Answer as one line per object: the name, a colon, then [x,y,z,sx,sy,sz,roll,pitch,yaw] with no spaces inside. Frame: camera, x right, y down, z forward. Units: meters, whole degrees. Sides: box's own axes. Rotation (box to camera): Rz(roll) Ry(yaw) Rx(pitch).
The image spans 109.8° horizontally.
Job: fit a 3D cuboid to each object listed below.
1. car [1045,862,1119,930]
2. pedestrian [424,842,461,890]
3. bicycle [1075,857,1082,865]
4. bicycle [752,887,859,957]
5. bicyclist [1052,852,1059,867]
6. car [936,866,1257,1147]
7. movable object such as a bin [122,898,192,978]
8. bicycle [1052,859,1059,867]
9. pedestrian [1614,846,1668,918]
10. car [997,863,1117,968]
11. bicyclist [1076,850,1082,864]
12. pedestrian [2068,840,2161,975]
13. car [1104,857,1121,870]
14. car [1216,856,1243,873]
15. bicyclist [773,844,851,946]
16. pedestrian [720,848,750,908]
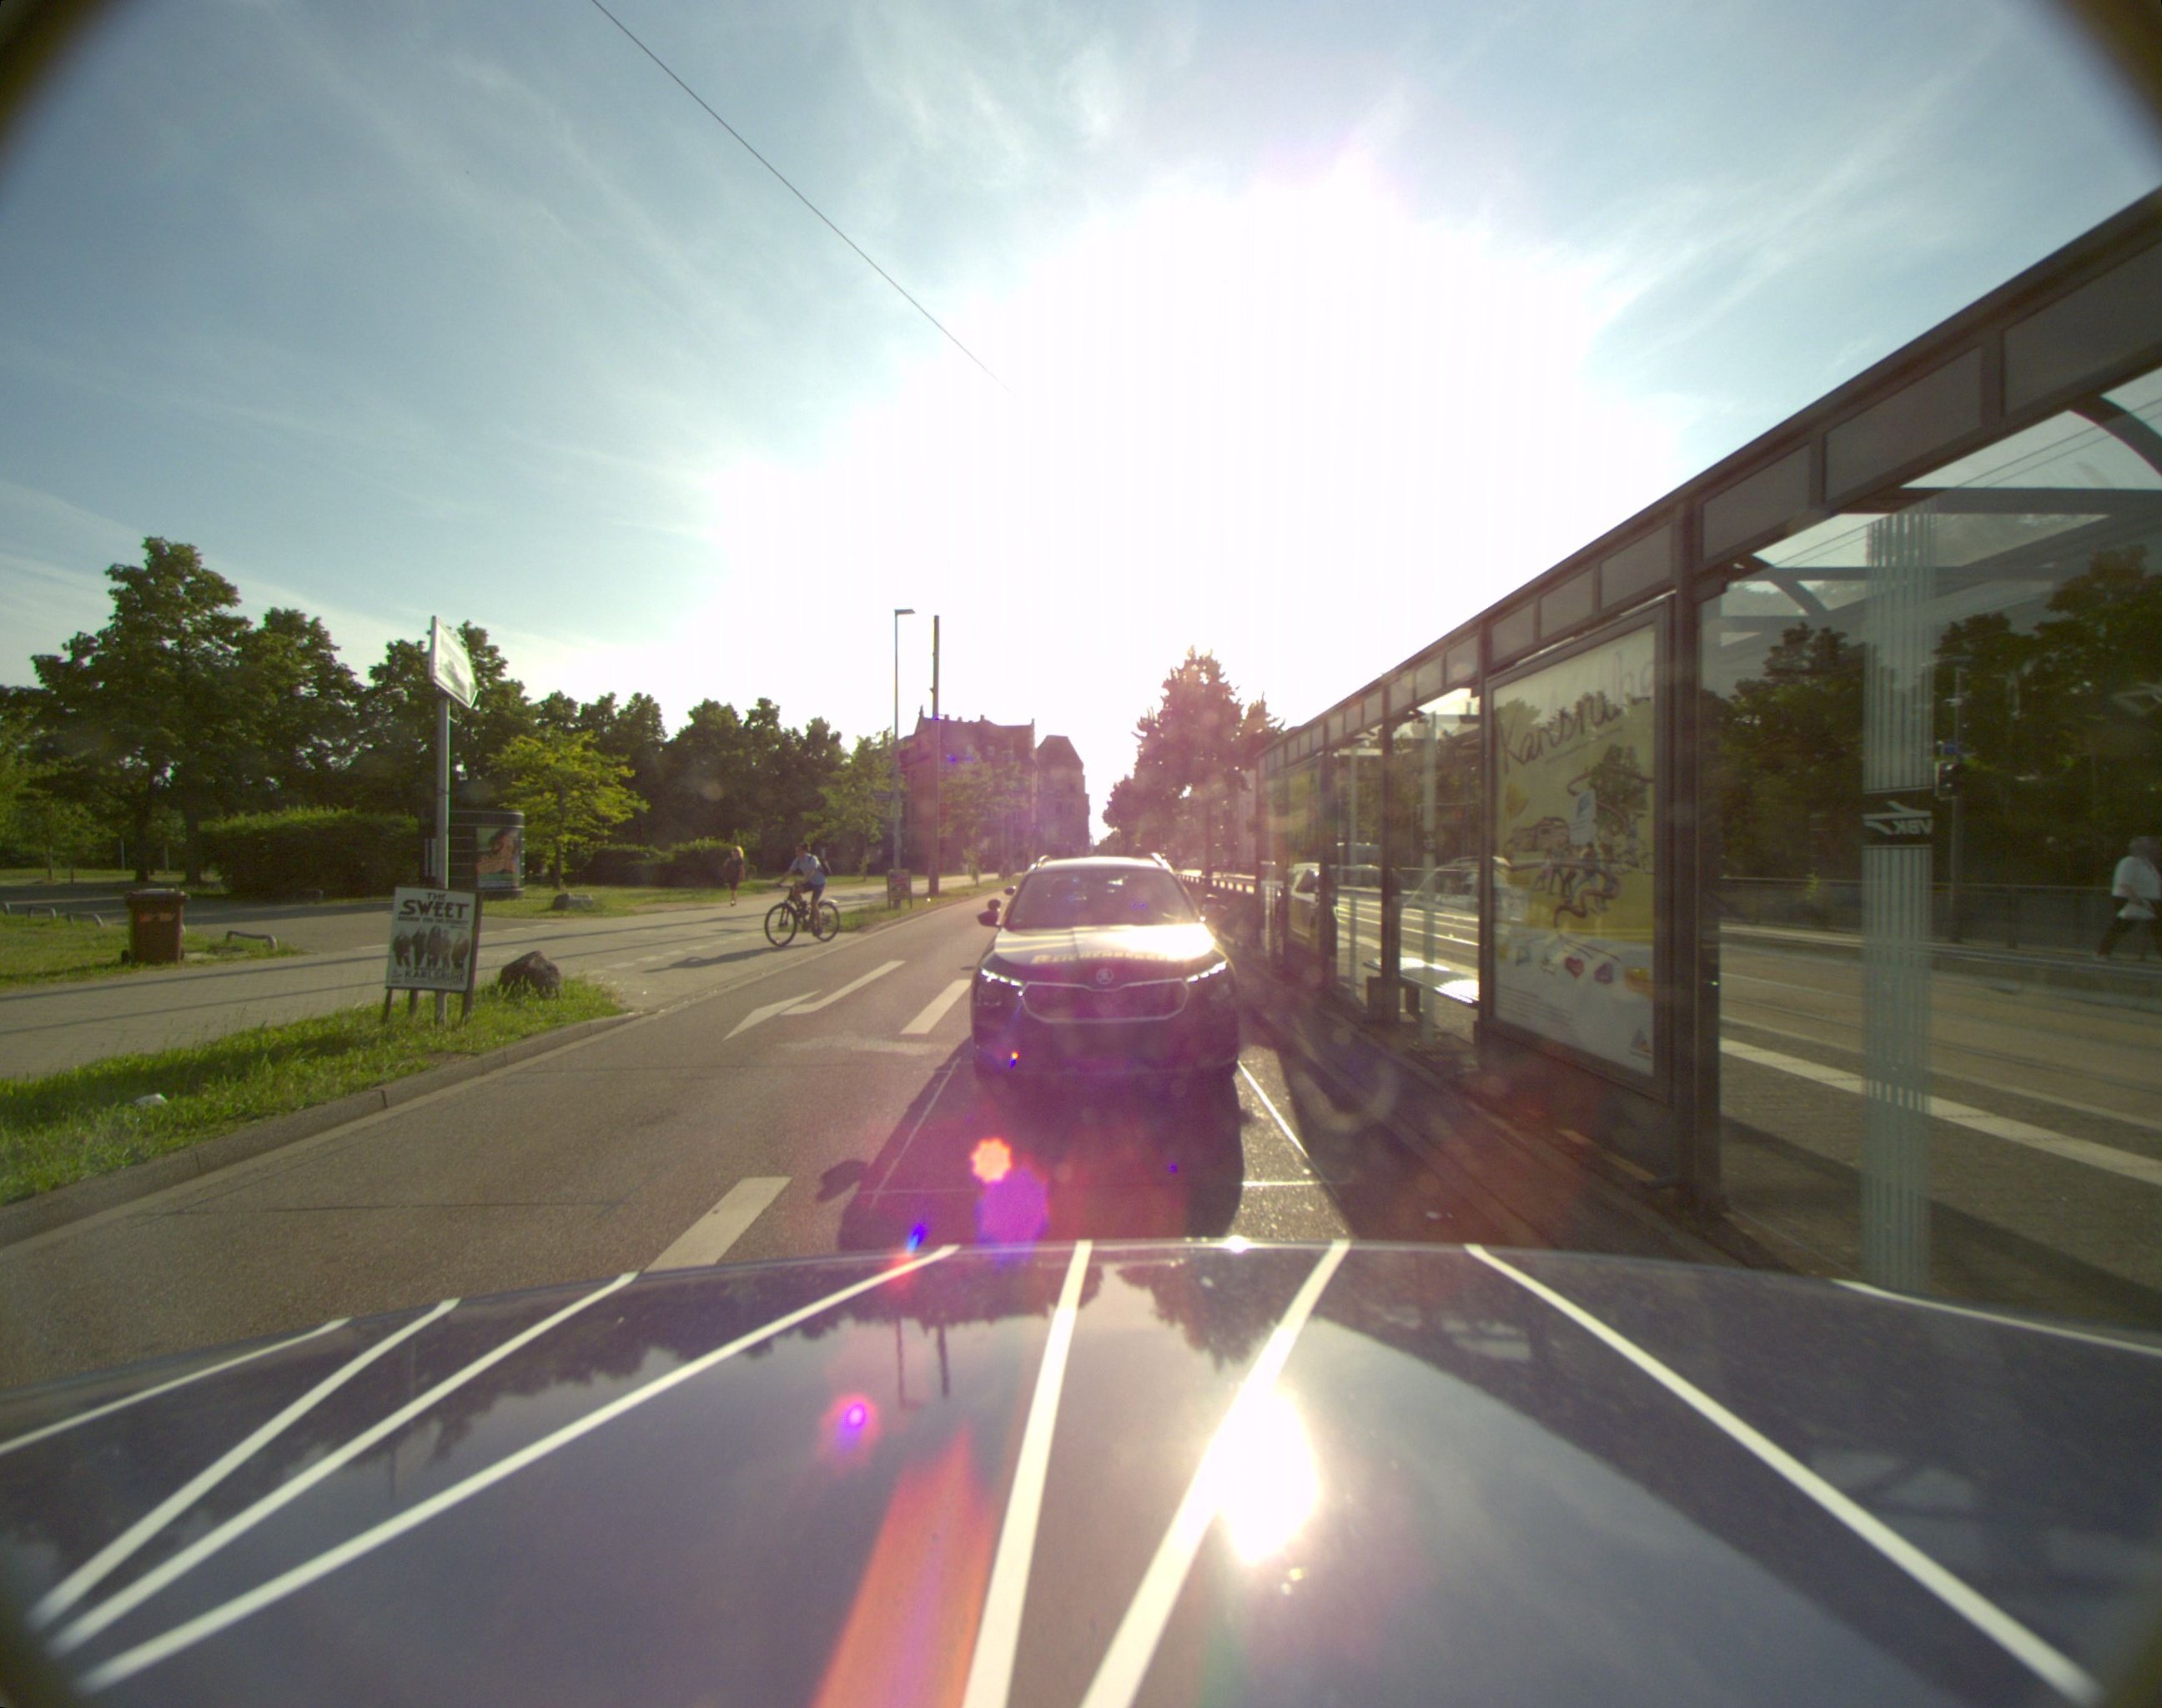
car: [0.049,0.965,19.076,1.672,1.496,3.872,0,0,1]
pedestrian: [-28.785,0.521,34.246,0.910,2.145,0.891,0,0,13]
bicycle: [-0.309,0.838,90.925,0.740,0.912,2.094,0,0,0]
bicycle: [-4.926,1.178,13.733,0.641,1.081,1.943,3,0,22]
bicyclist: [-3.031,0.667,89.126,0.754,1.763,1.118,0,0,0]
car: [0.108,0.885,6.234,1.781,1.496,4.000,0,0,1]
movable object such as a bin: [-11.241,1.006,9.249,0.502,0.898,0.526,1,1,39]
bicycle: [-3.038,1.053,89.313,0.740,0.912,2.094,0,0,0]
pedestrian: [12.982,0.637,17.630,0.736,1.618,0.689,0,0,1]
car: [-0.329,0.933,13.232,1.781,1.496,4.000,0,0,1]
bicyclist: [-0.286,0.356,90.965,0.730,1.763,1.015,0,0,-1]
pedestrian: [13.062,0.639,9.409,0.708,1.618,0.727,0,0,1]
car: [4.198,1.210,101.979,1.999,1.674,3.999,0,0,-1]
car: [18.065,1.240,92.566,2.000,2.002,3.996,0,0,-10]
bicyclist: [-4.860,0.723,13.789,0.649,1.735,1.142,3,1,22]
pedestrian: [-9.850,0.683,21.652,0.558,1.691,0.662,0,1,0]
